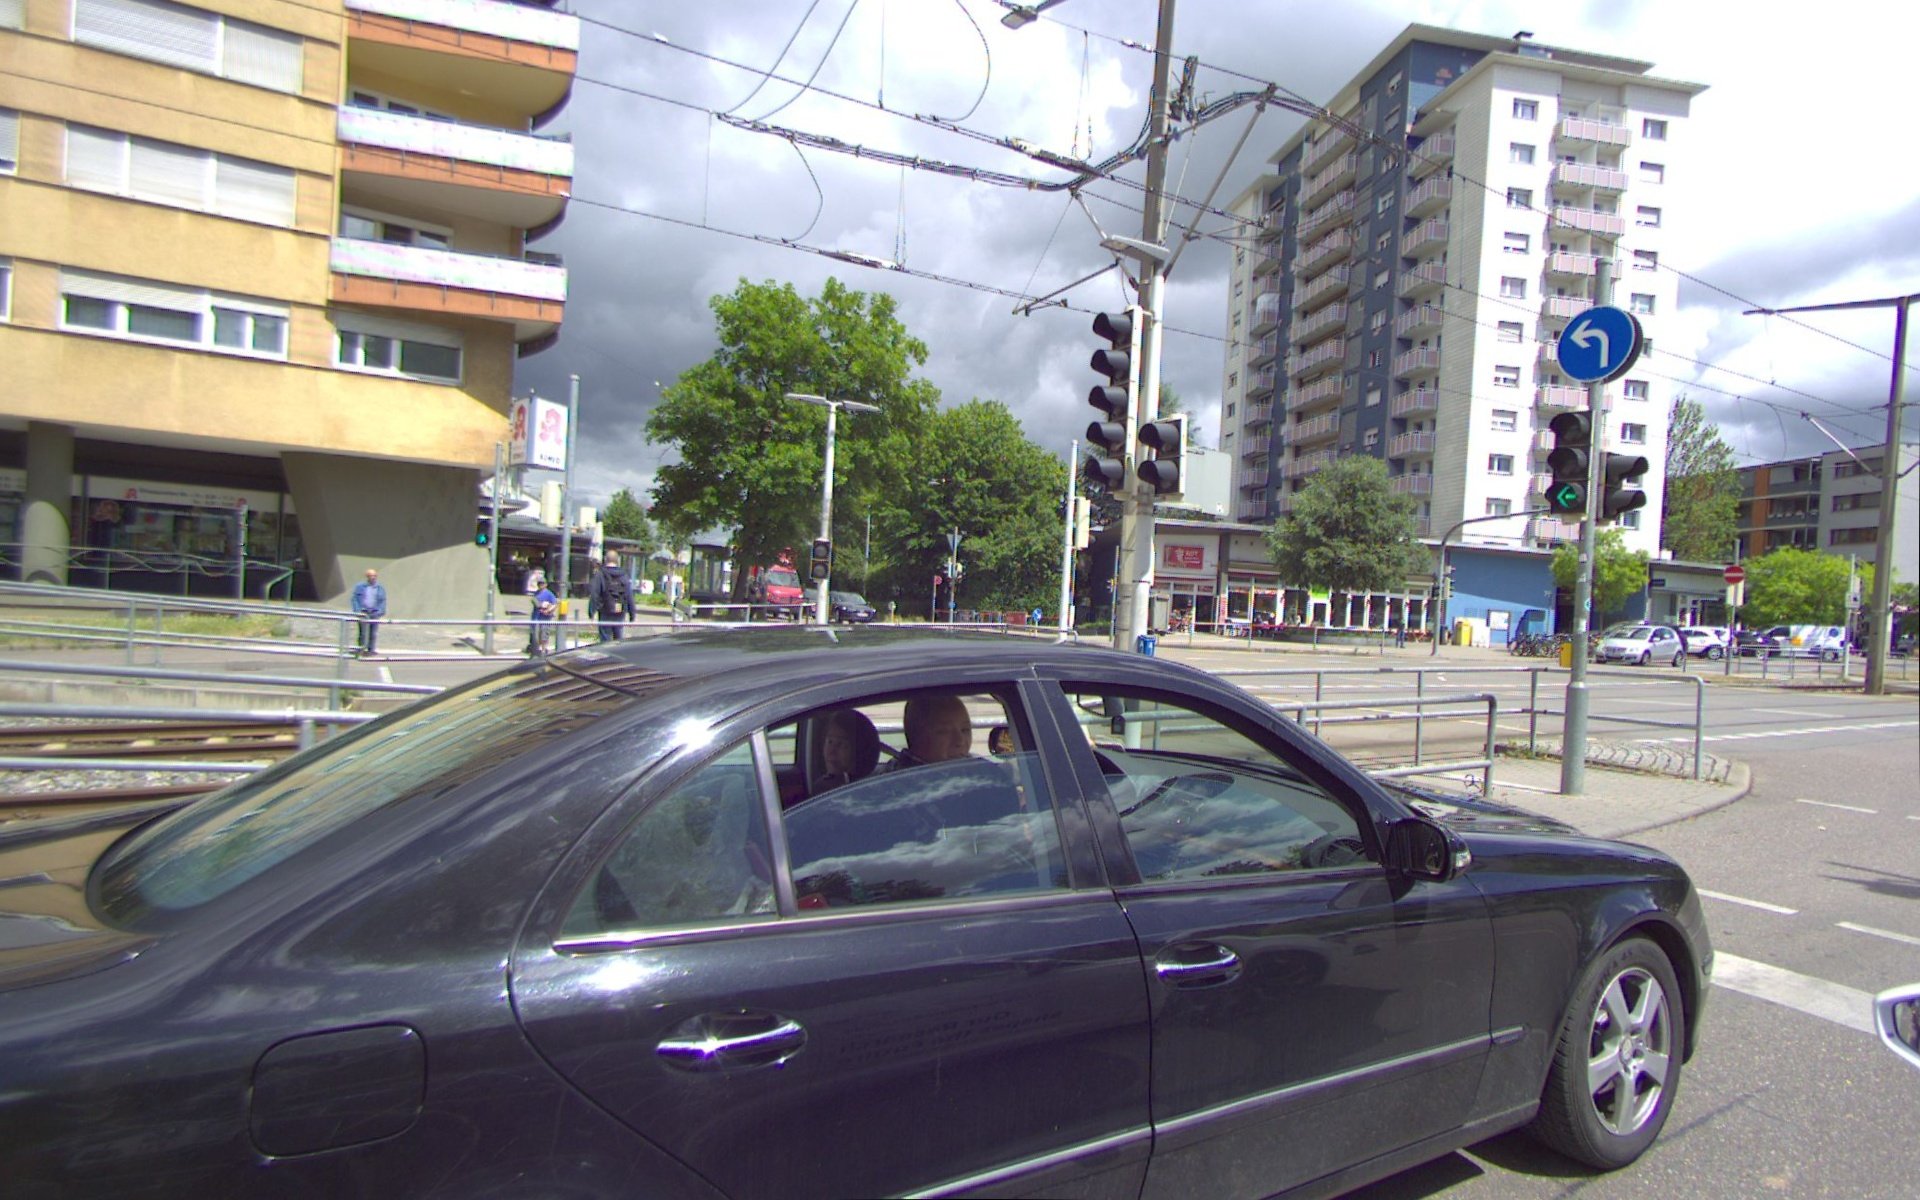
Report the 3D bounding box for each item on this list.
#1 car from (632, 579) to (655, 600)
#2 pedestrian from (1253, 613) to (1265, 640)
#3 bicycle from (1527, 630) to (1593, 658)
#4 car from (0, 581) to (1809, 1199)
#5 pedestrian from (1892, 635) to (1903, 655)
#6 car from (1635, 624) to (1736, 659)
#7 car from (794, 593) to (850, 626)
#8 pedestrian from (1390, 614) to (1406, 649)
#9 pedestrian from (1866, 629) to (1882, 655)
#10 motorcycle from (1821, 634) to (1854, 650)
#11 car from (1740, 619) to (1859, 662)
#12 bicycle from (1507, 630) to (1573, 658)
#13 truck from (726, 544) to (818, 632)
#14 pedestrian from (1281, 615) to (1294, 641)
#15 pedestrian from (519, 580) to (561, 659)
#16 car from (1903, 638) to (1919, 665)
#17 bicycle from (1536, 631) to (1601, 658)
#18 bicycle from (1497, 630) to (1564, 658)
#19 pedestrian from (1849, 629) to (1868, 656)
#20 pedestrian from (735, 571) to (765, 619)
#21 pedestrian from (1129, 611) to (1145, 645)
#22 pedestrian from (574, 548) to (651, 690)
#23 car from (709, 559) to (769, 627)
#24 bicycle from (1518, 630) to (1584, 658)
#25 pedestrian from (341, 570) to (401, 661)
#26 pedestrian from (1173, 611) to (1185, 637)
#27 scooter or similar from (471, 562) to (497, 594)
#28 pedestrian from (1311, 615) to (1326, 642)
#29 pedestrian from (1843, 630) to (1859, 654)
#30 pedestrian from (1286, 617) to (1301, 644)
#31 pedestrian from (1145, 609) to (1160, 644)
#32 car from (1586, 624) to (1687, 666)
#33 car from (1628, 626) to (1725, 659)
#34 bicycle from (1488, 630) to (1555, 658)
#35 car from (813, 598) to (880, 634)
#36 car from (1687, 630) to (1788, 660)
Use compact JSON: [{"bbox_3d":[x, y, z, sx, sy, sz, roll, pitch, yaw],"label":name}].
[{"bbox_3d":[-34.086,-1.097,108.102,1.971,2.124,4.712,2,0,-22],"label":"car"},{"bbox_3d":[17.315,1.537,58.119,0.515,1.492,0.572,2,0,1],"label":"pedestrian"},{"bbox_3d":[26.108,1.916,43.746,0.697,1.080,2.415,2,0,-30],"label":"bicycle"},{"bbox_3d":[0.030,0.735,2.703,4.619,1.417,1.962,2,0,-30],"label":"car"},{"bbox_3d":[69.979,3.342,74.977,0.490,1.479,0.559,2,0,30],"label":"pedestrian"},{"bbox_3d":[38.648,2.175,53.617,3.919,1.654,1.907,2,0,12],"label":"car"},{"bbox_3d":[-7.216,0.462,52.270,1.971,1.623,3.979,2,0,-22],"label":"car"},{"bbox_3d":[20.966,1.497,48.108,0.594,1.665,0.414,2,0,-34],"label":"pedestrian"},{"bbox_3d":[65.592,3.002,72.067,0.834,1.816,0.607,2,0,-33],"label":"pedestrian"},{"bbox_3d":[71.002,3.429,81.280,0.734,1.194,1.880,2,0,-34],"label":"motorcycle"},{"bbox_3d":[47.037,2.246,56.381,4.666,2.185,1.907,2,0,17],"label":"car"},{"bbox_3d":[24.738,1.870,42.881,0.697,1.080,2.415,2,0,-30],"label":"bicycle"},{"bbox_3d":[-8.824,-0.510,46.500,2.512,3.723,7.057,2,0,-24],"label":"truck"},{"bbox_3d":[19.028,1.603,58.444,0.516,1.492,0.572,2,0,-2],"label":"pedestrian"},{"bbox_3d":[-8.529,0.385,20.390,0.641,1.534,0.715,2,3,-30],"label":"pedestrian"},{"bbox_3d":[63.953,3.425,66.049,4.058,1.685,1.980,2,2,-35],"label":"car"},{"bbox_3d":[26.729,1.936,44.165,0.697,1.080,2.415,2,0,-30],"label":"bicycle"},{"bbox_3d":[24.077,1.848,42.448,0.697,1.080,2.415,2,0,-30],"label":"bicycle"},{"bbox_3d":[58.663,2.754,65.555,0.832,1.672,0.609,3,2,45],"label":"pedestrian"},{"bbox_3d":[-8.037,-0.192,38.464,0.873,1.835,0.641,2,0,33],"label":"pedestrian"},{"bbox_3d":[7.838,1.224,44.511,0.516,1.492,0.572,2,0,-5],"label":"pedestrian"},{"bbox_3d":[-5.027,0.268,14.491,0.844,1.960,0.913,2,0,-31],"label":"pedestrian"},{"bbox_3d":[-11.797,-0.379,53.187,1.971,3.343,6.270,2,0,-22],"label":"car"},{"bbox_3d":[25.480,1.895,43.341,0.697,1.080,2.415,2,0,-30],"label":"bicycle"},{"bbox_3d":[-11.035,0.288,18.813,0.902,1.619,0.714,2,5,-34],"label":"pedestrian"},{"bbox_3d":[12.690,1.395,58.275,0.515,1.492,0.572,2,0,1],"label":"pedestrian"},{"bbox_3d":[-16.736,-0.767,35.303,0.540,1.108,1.736,2,0,-34],"label":"scooter or similar"},{"bbox_3d":[20.442,1.618,57.264,0.565,1.492,0.522,2,0,-29],"label":"pedestrian"},{"bbox_3d":[61.080,2.874,68.839,0.654,1.594,0.687,2,0,30],"label":"pedestrian"},{"bbox_3d":[18.877,1.705,56.918,0.565,1.492,0.522,2,0,-29],"label":"pedestrian"},{"bbox_3d":[8.432,1.146,44.038,0.516,1.492,0.518,2,0,-5],"label":"pedestrian"},{"bbox_3d":[26.812,1.787,39.813,3.708,1.553,1.811,2,0,-28],"label":"car"},{"bbox_3d":[36.785,2.169,51.680,3.691,1.516,1.747,2,0,18],"label":"car"},{"bbox_3d":[23.478,1.828,42.083,0.697,1.080,2.415,2,0,-30],"label":"bicycle"},{"bbox_3d":[-5.264,0.704,46.182,1.972,1.514,3.976,2,0,-24],"label":"car"},{"bbox_3d":[42.610,2.451,55.140,3.920,1.402,1.907,2,0,17],"label":"car"}]
